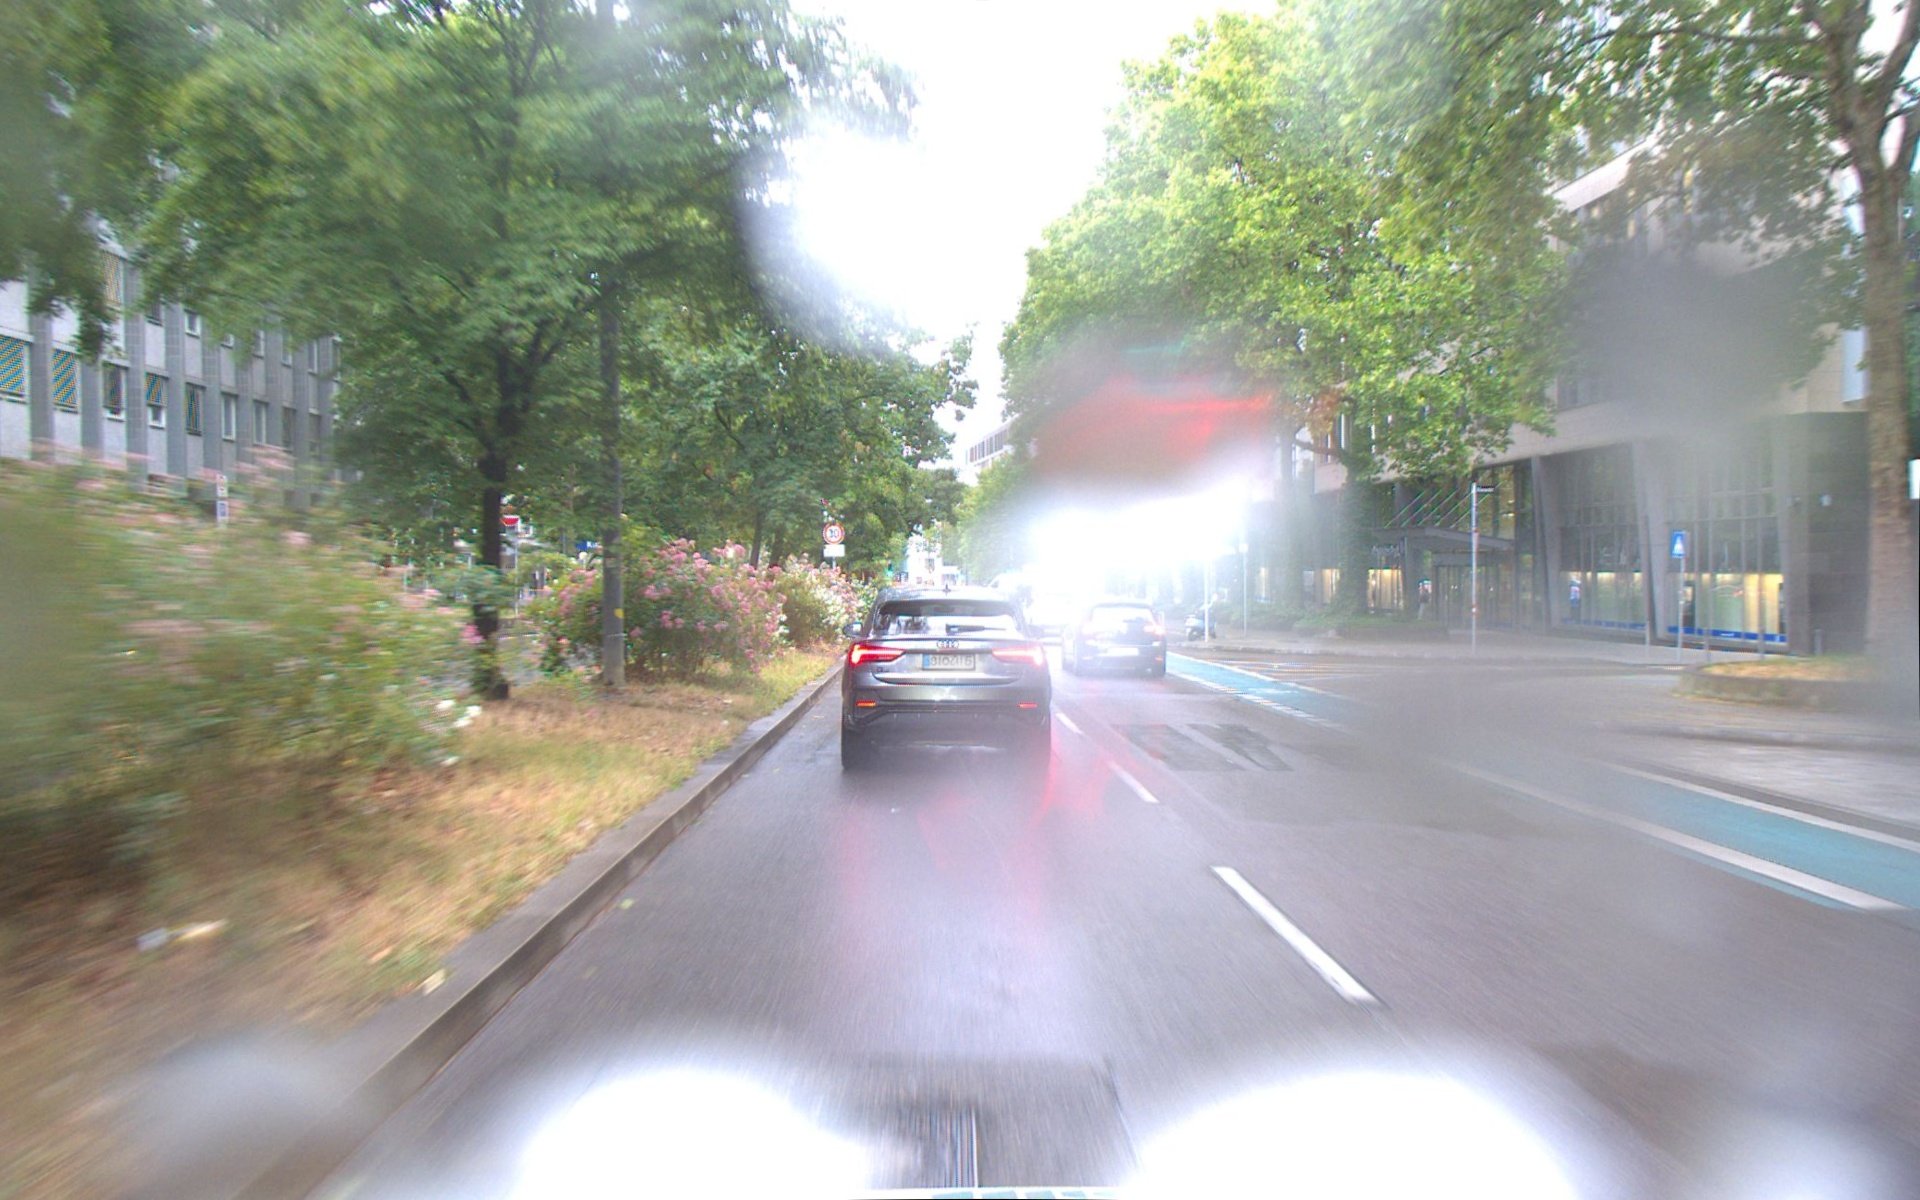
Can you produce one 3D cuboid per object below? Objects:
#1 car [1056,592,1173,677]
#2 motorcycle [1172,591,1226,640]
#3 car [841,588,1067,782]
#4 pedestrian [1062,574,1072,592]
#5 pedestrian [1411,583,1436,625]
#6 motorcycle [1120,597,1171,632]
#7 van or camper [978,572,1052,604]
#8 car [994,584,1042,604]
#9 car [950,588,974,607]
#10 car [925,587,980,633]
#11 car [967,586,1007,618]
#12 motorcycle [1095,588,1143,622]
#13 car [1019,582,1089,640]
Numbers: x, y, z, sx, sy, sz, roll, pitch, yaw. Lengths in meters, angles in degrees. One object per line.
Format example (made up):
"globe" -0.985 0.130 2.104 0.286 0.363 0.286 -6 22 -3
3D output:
"car" 2.955 0.619 32.334 1.812 1.550 4.037 0 0 -1
"motorcycle" 7.363 0.482 50.857 0.672 1.391 1.937 -4 0 38
"car" -0.119 0.670 15.322 1.812 1.550 4.037 0 0 -2
"pedestrian" 10.548 -1.654 163.262 0.789 1.726 1.187 0 0 -2
"pedestrian" 19.603 0.160 69.940 0.716 1.722 0.824 -1 1 41
"motorcycle" 7.229 0.553 64.306 2.038 1.234 0.676 -3 0 -37
"van or camper" 4.697 -1.011 141.073 5.946 2.603 2.103 0 0 26
"car" 4.736 -0.485 135.164 3.572 1.574 1.716 0 0 18
"car" 0.160 -0.197 134.120 1.812 1.550 4.037 0 0 -1
"car" -0.291 0.317 56.734 1.812 1.550 4.037 0 0 -1
"car" 1.326 0.077 82.252 1.812 1.550 4.037 0 0 -1
"motorcycle" 6.839 0.210 71.059 1.929 1.397 0.724 -2 2 -23
"car" 2.803 0.307 50.054 1.812 1.698 4.037 0 0 -1
